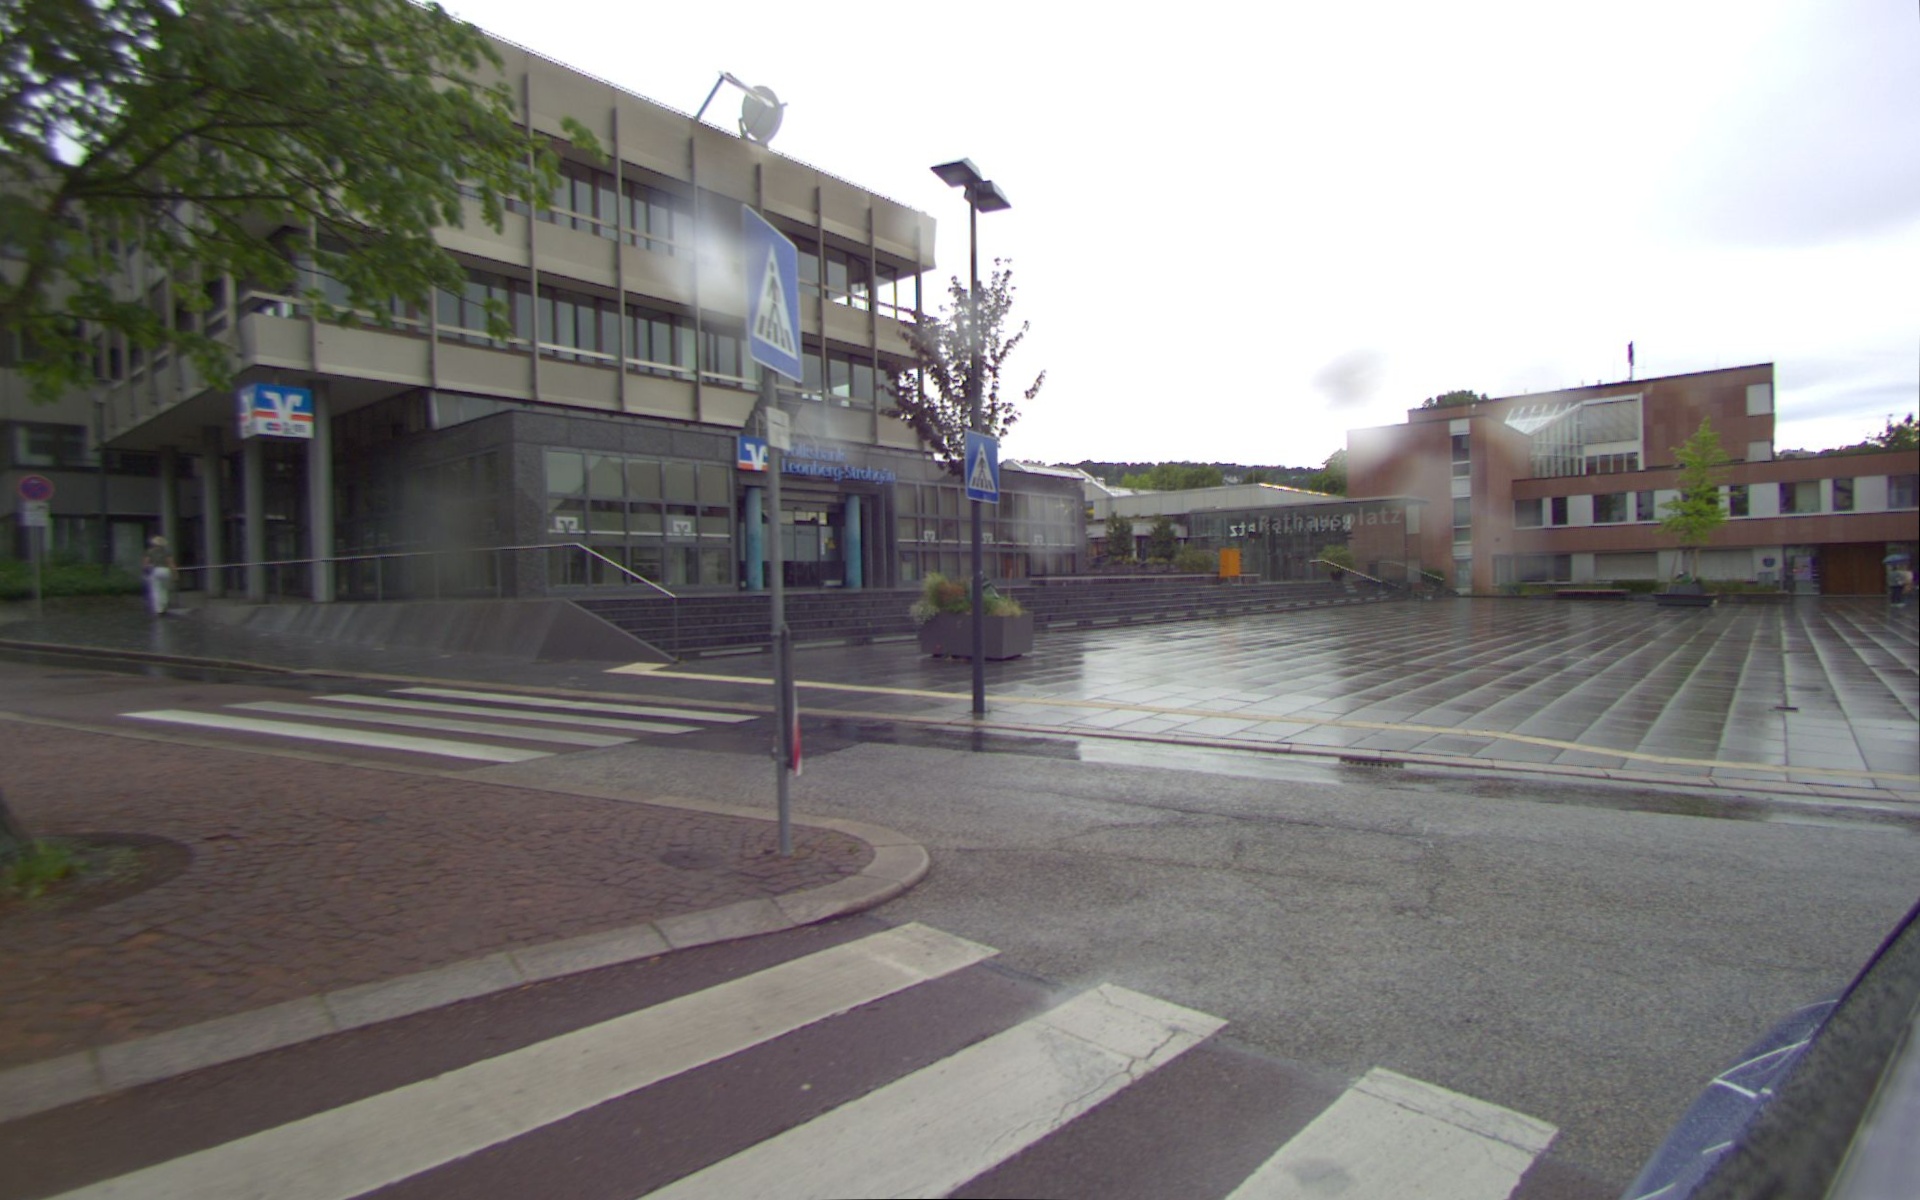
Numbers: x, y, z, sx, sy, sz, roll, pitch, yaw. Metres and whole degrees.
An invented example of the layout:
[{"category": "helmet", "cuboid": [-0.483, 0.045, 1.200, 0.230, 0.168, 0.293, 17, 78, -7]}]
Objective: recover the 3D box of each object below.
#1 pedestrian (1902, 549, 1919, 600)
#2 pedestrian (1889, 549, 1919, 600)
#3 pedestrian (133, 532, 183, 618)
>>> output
[{"category": "pedestrian", "cuboid": [38.720, -1.032, 40.783, 0.844, 2.038, 0.734, -1, 2, -16]}, {"category": "pedestrian", "cuboid": [37.885, -1.025, 40.472, 0.844, 2.038, 0.734, -1, 2, -16]}, {"category": "pedestrian", "cuboid": [-17.765, -0.563, 22.434, 0.822, 1.852, 0.815, -1, 2, -39]}]
